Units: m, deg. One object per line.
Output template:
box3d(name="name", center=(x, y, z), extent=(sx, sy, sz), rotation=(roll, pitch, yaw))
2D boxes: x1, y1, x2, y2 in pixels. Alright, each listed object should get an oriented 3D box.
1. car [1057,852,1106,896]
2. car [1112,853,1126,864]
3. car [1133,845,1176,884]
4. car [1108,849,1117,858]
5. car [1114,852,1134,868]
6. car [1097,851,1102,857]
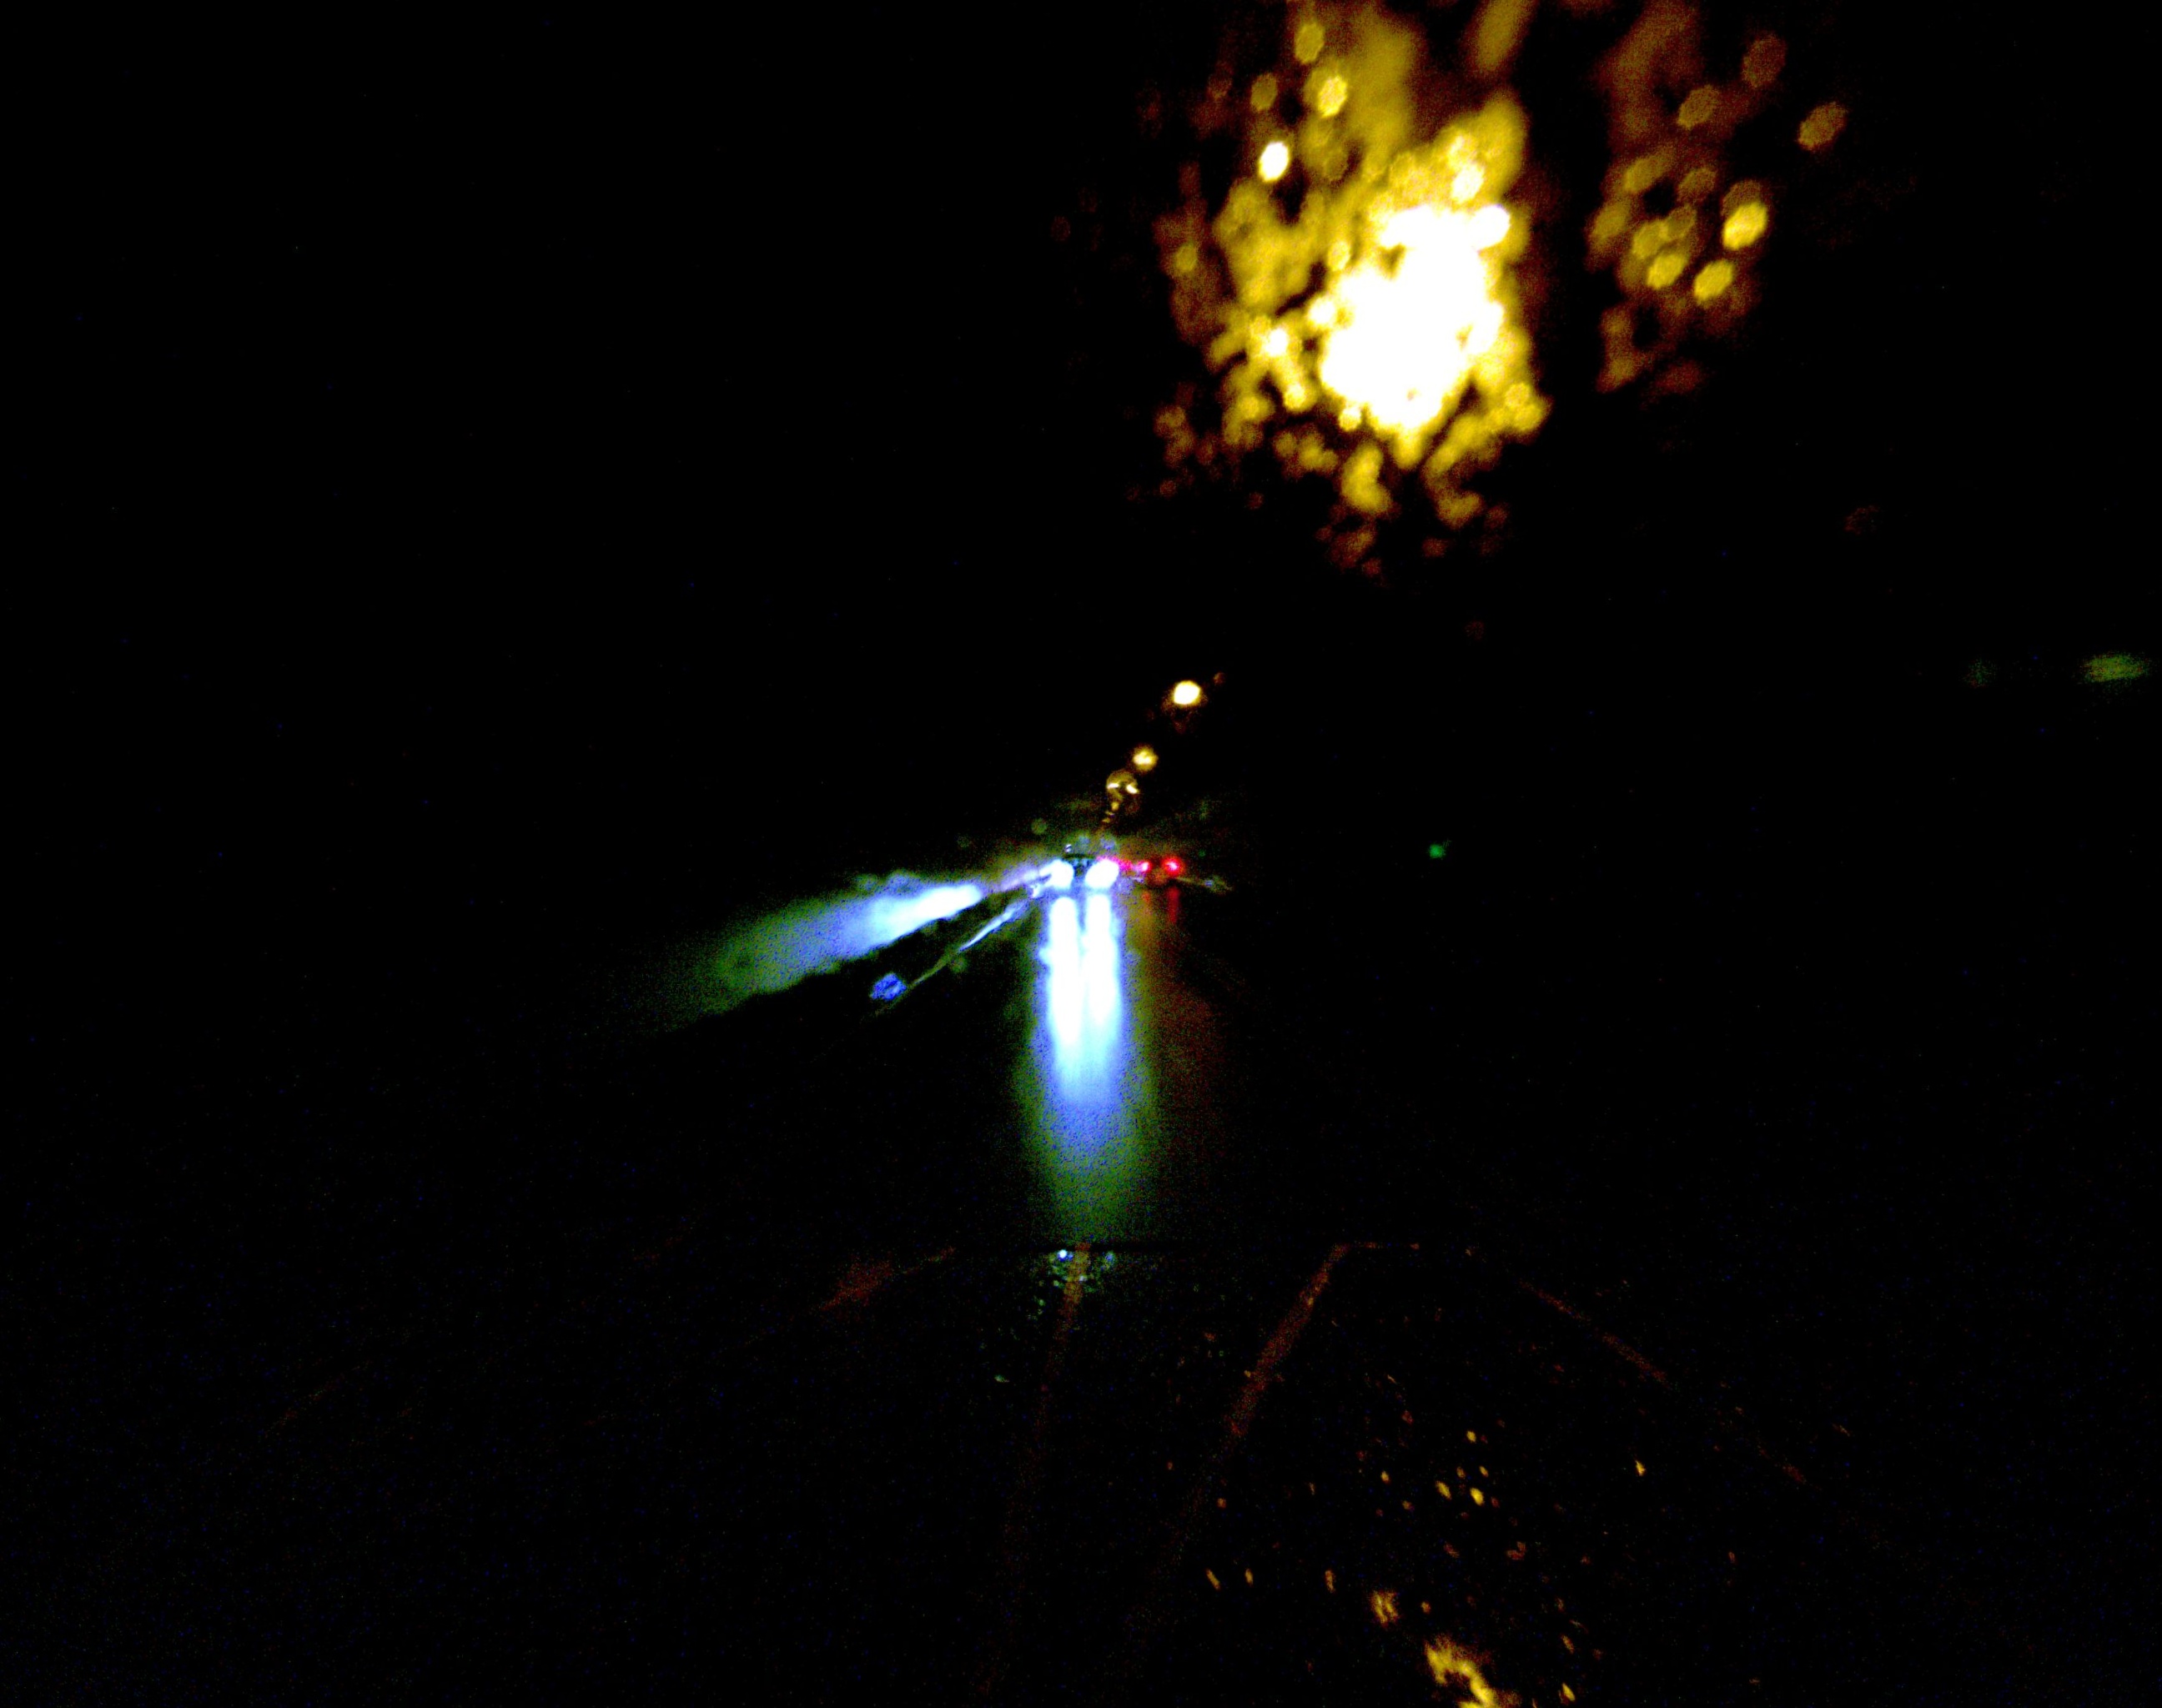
box3d(name="car", center=(0.041, 0.748, 30.907), extent=(1.829, 1.650, 3.929), rotation=(-1, 0, 1))
box3d(name="car", center=(5.231, 0.558, 104.687), extent=(1.739, 1.433, 3.836), rotation=(-2, 0, 1))
box3d(name="car", center=(3.626, 0.493, 37.915), extent=(1.733, 1.781, 3.932), rotation=(-2, 0, 0))
box3d(name="car", center=(5.873, -0.101, 142.315), extent=(1.573, 1.622, 3.729), rotation=(-1, 0, 1))
box3d(name="car", center=(4.187, 0.584, 74.349), extent=(1.764, 1.472, 3.887), rotation=(-2, 0, 1))
box3d(name="car", center=(5.194, -0.009, 213.528), extent=(1.602, 1.604, 3.995), rotation=(-2, 0, 1))
